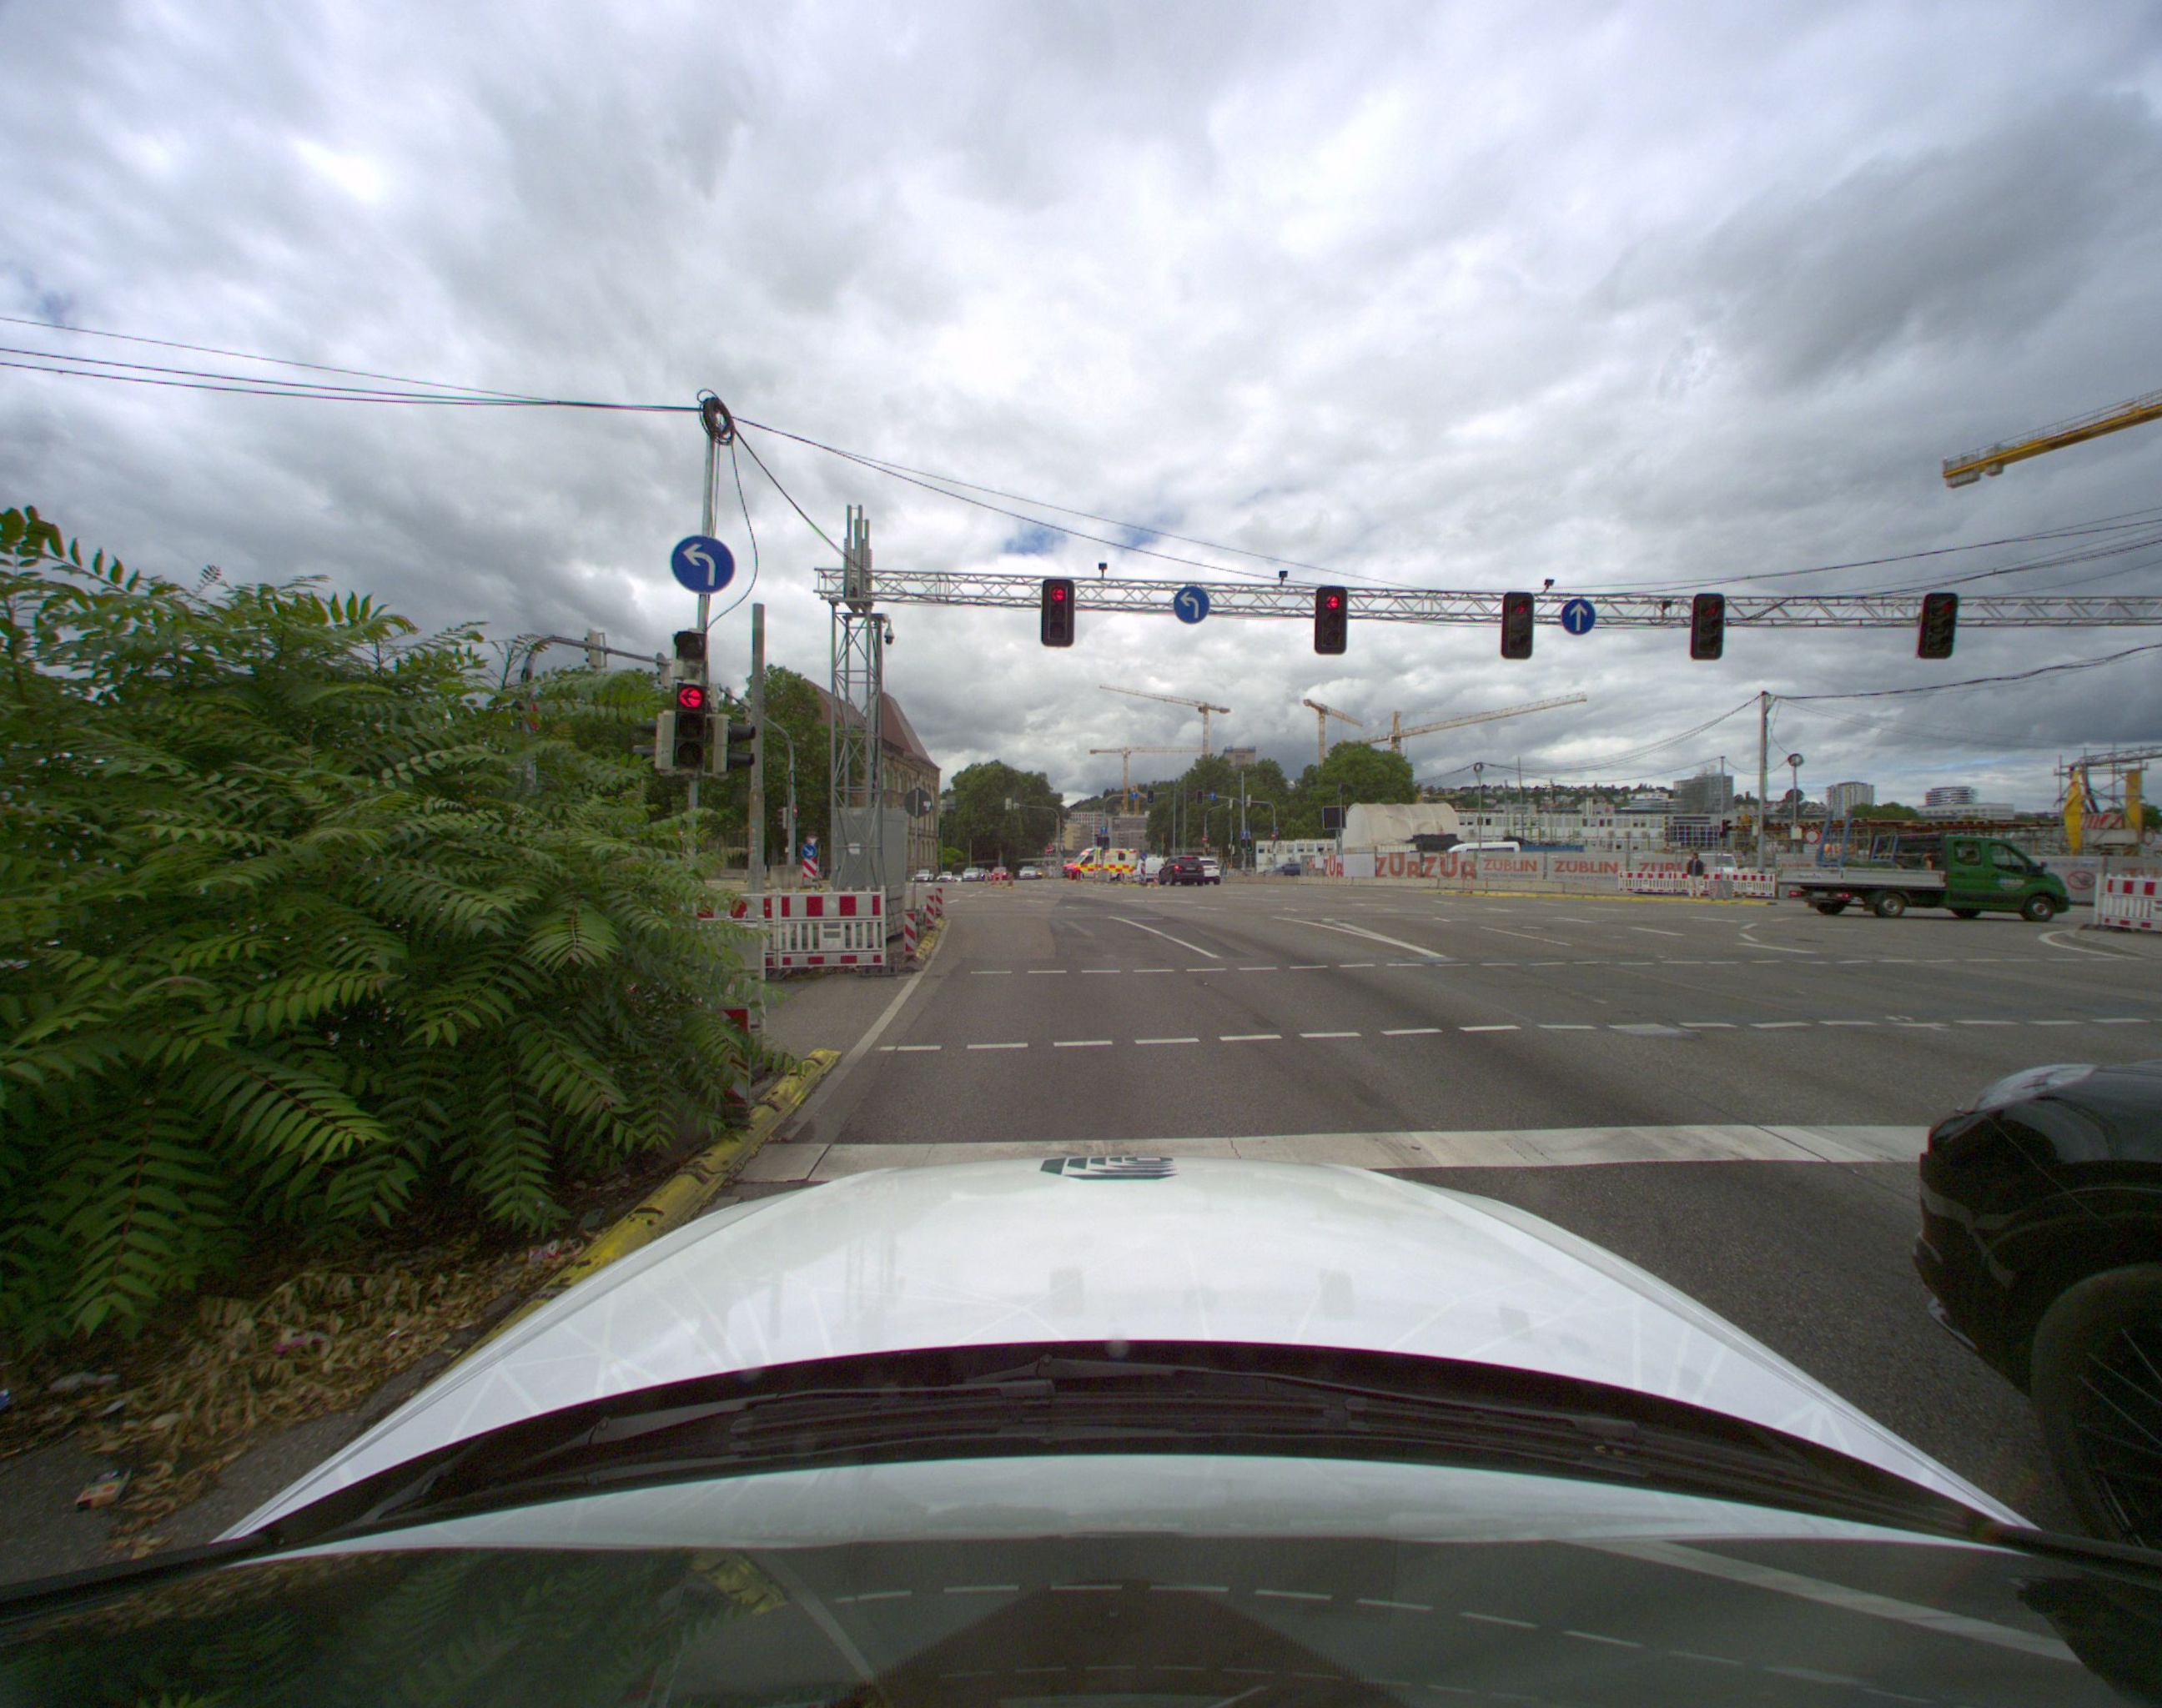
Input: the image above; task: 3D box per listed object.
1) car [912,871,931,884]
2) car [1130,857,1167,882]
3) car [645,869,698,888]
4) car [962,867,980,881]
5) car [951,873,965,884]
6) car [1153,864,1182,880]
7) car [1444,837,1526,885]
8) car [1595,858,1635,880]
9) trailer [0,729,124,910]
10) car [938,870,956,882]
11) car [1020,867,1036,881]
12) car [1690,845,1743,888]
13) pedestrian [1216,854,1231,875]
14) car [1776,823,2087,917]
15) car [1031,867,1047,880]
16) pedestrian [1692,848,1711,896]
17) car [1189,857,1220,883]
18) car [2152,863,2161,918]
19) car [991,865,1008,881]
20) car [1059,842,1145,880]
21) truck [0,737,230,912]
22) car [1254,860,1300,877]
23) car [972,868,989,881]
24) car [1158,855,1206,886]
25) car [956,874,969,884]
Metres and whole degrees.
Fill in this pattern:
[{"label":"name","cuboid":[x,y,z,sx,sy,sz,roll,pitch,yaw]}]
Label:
[{"label":"car","cuboid":[-17.634,2.574,90.279,1.673,1.398,3.677,0,-1,-4]},{"label":"car","cuboid":[4.562,1.016,55.576,1.814,1.625,3.992,0,-1,-5]},{"label":"car","cuboid":[-32.714,1.924,65.091,3.695,1.398,1.665,0,-1,-32]},{"label":"car","cuboid":[-11.623,2.112,86.075,1.673,1.398,3.677,0,-1,-4]},{"label":"car","cuboid":[-17.437,3.476,115.461,1.673,1.398,3.677,0,-1,-4]},{"label":"car","cuboid":[8.016,1.675,75.957,1.680,1.398,3.069,0,-1,-16]},{"label":"car","cuboid":[23.225,0.421,46.971,3.957,2.662,1.688,-1,-1,15]},{"label":"car","cuboid":[38.539,1.080,58.833,1.661,1.528,4.021,-1,-1,22]},{"label":"trailer","cuboid":[-32.429,-0.770,20.003,13.708,4.281,2.945,0,-1,-3]},{"label":"car","cuboid":[-17.169,2.858,104.464,1.671,1.398,3.682,1,0,0]},{"label":"car","cuboid":[-5.592,2.063,85.389,1.673,1.398,3.677,0,-1,-4]},{"label":"car","cuboid":[30.127,0.560,38.697,1.755,1.954,3.146,-1,-1,34]},{"label":"pedestrian","cuboid":[13.759,1.047,78.752,1.094,2.014,1.181,0,-1,-10]},{"label":"car","cuboid":[22.283,0.410,21.563,5.737,2.305,2.304,0,-1,1]},{"label":"car","cuboid":[-4.772,2.188,92.283,1.673,1.398,3.677,0,-1,-4]},{"label":"pedestrian","cuboid":[25.723,0.724,33.782,0.581,1.976,0.437,0,0,43]},{"label":"car","cuboid":[8.261,1.068,54.622,1.670,1.702,3.375,0,-1,2]},{"label":"car","cuboid":[34.116,1.062,23.255,4.691,1.625,1.682,0,-1,2]},{"label":"car","cuboid":[-8.483,1.991,85.091,1.673,1.580,3.677,0,-1,-4]},{"label":"car","cuboid":[1.749,0.563,67.556,6.753,3.052,2.358,0,-1,-17]},{"label":"truck","cuboid":[-25.322,-0.667,20.331,4.864,4.064,2.942,0,-1,-3]},{"label":"car","cuboid":[19.102,1.433,79.486,3.996,1.625,1.812,0,-1,-17]},{"label":"car","cuboid":[-11.369,2.261,92.233,1.673,1.398,3.677,0,-1,-4]},{"label":"car","cuboid":[5.954,0.939,48.492,1.830,1.746,4.244,0,-1,-8]},{"label":"car","cuboid":[-18.125,3.804,124.982,1.673,1.398,3.677,0,-1,-4]}]
